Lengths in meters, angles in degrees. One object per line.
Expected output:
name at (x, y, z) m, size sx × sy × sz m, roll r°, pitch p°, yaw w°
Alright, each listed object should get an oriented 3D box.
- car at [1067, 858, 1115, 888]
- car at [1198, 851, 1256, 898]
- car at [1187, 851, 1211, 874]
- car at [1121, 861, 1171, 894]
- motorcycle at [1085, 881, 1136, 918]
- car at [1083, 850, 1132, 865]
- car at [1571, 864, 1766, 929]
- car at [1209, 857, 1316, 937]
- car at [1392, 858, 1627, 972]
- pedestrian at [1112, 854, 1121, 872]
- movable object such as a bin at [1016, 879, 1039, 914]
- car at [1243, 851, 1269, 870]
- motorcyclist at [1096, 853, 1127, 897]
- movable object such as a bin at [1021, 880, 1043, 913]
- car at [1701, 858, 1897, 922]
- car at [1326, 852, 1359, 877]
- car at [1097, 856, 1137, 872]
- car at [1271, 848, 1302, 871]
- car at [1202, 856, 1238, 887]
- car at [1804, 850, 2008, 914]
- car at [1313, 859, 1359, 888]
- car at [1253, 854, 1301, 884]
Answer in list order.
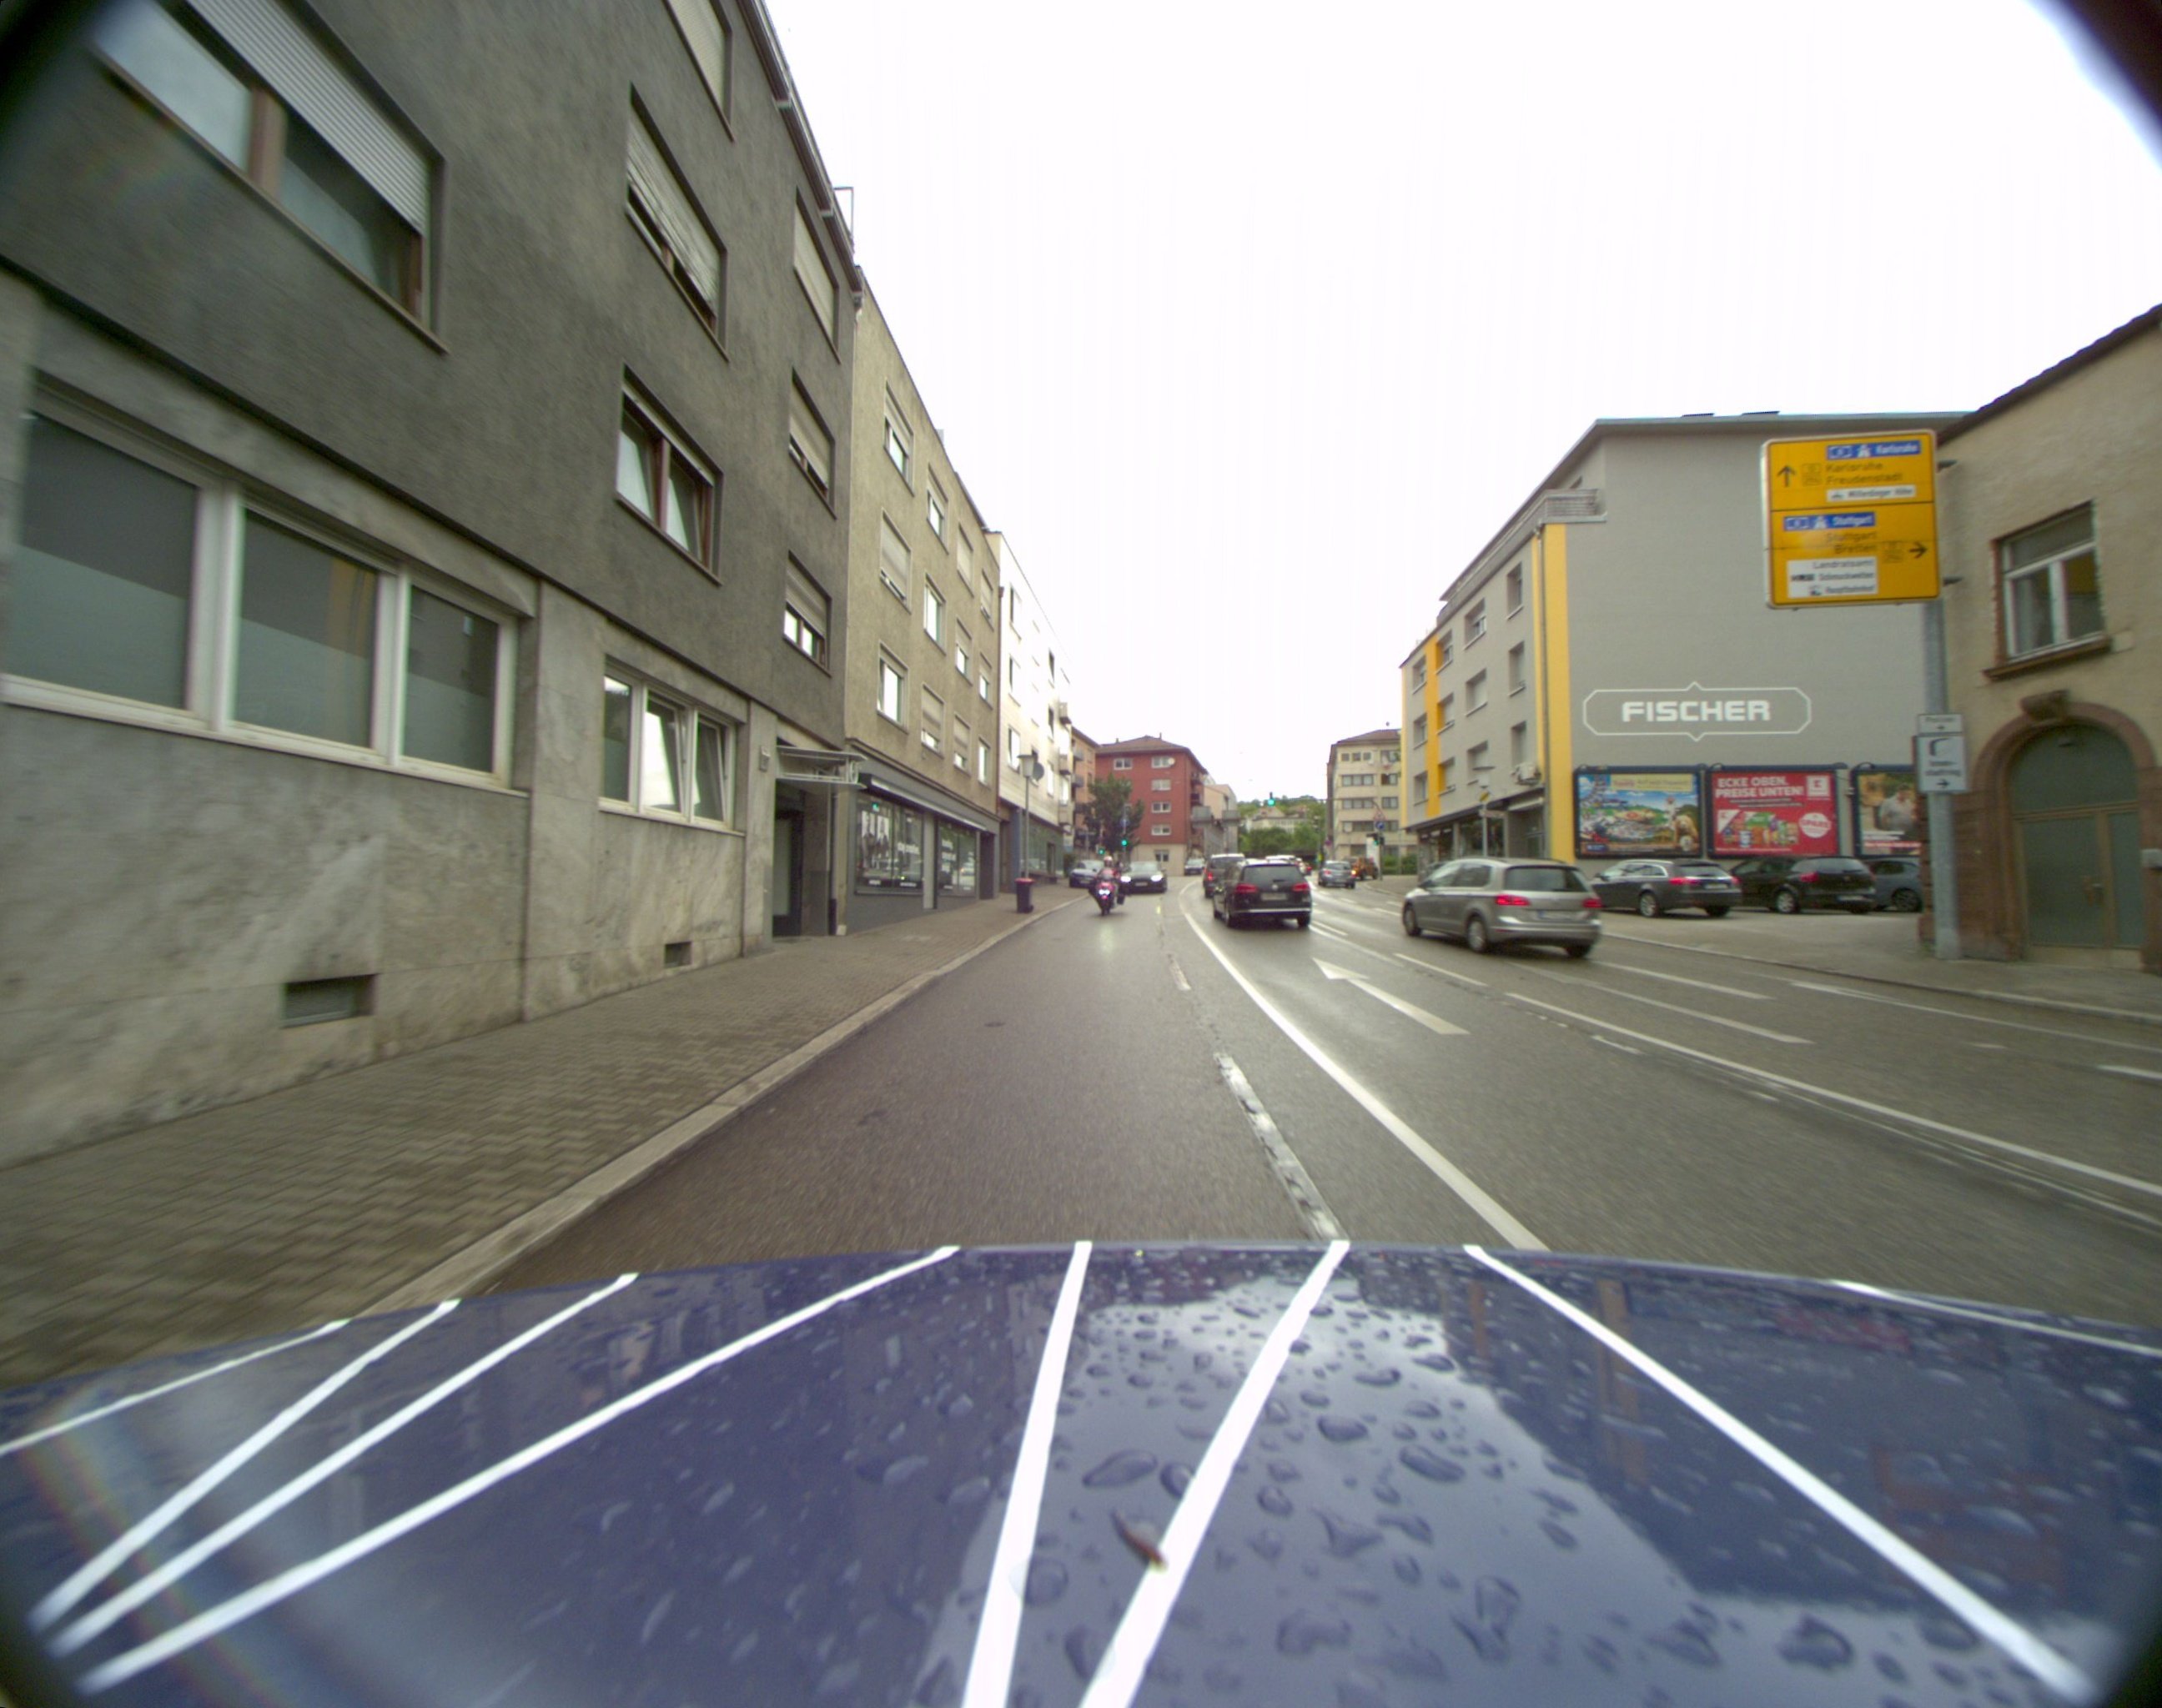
car at (0.593, 0.953, 39.810) m, size 1.766 × 1.384 × 4.382 m, roll 2°, pitch 1°, yaw 10°
car at (5.686, 0.741, 30.090) m, size 1.810 × 1.695 × 4.563 m, roll -1°, pitch 1°, yaw 6°
car at (10.602, 0.792, 68.169) m, size 1.792 × 1.716 × 4.007 m, roll -2°, pitch -4°, yaw 14°
car at (3.072, 1.090, 35.405) m, size 1.873 × 1.433 × 4.004 m, roll -1°, pitch -1°, yaw 11°
motorcycle at (0.871, 1.288, 21.806) m, size 0.636 × 0.921 × 2.368 m, roll -2°, pitch -1°, yaw 23°
car at (2.839, 0.361, 80.157) m, size 4.785 × 1.545 × 1.853 m, roll 1°, pitch -1°, yaw 19°
car at (15.321, 1.024, 20.207) m, size 1.695 × 1.446 × 4.665 m, roll -1°, pitch 0°, yaw 2°
car at (4.051, 0.883, 17.591) m, size 1.727 × 1.507 × 4.370 m, roll -1°, pitch 1°, yaw 5°
car at (7.196, 0.916, 13.327) m, size 1.719 × 1.577 × 4.143 m, roll 2°, pitch 1°, yaw 0°
pedestrian at (3.378, 0.858, 72.719) m, size 0.709 × 1.636 × 0.760 m, roll 3°, pitch -3°, yaw 5°
movable object such as a bin at (-1.520, 1.219, 21.655) m, size 0.526 × 0.974 × 0.538 m, roll -1°, pitch -4°, yaw 8°
car at (14.824, 0.530, 64.202) m, size 1.809 × 1.512 × 4.567 m, roll 0°, pitch 1°, yaw 17°
motorcyclist at (0.881, 0.600, 21.876) m, size 0.653 × 1.216 × 0.659 m, roll -1°, pitch 0°, yaw 25°
movable object such as a bin at (-1.442, 1.237, 22.226) m, size 0.526 × 0.944 × 0.538 m, roll -1°, pitch -4°, yaw 8°
car at (18.577, 0.863, 19.927) m, size 1.694 × 1.455 × 3.856 m, roll -1°, pitch 0°, yaw 5°
car at (18.540, 0.708, 53.770) m, size 1.656 × 1.601 × 3.936 m, roll 2°, pitch 1°, yaw 27°
car at (3.926, 1.095, 82.344) m, size 3.992 × 1.650 × 1.996 m, roll -1°, pitch -2°, yaw 17°
car at (14.213, 0.361, 52.717) m, size 1.743 × 1.507 × 4.134 m, roll 2°, pitch 1°, yaw 10°
car at (7.535, 0.906, 41.484) m, size 1.701 × 1.471 × 4.293 m, roll -2°, pitch 0°, yaw 8°
car at (21.671, 0.809, 20.207) m, size 1.736 × 1.505 × 3.572 m, roll -1°, pitch -4°, yaw 8°
car at (13.951, 1.093, 41.693) m, size 1.664 × 1.378 × 3.806 m, roll -1°, pitch -4°, yaw 8°
car at (10.719, 0.777, 41.866) m, size 1.744 × 1.507 × 4.131 m, roll 2°, pitch 1°, yaw 3°
